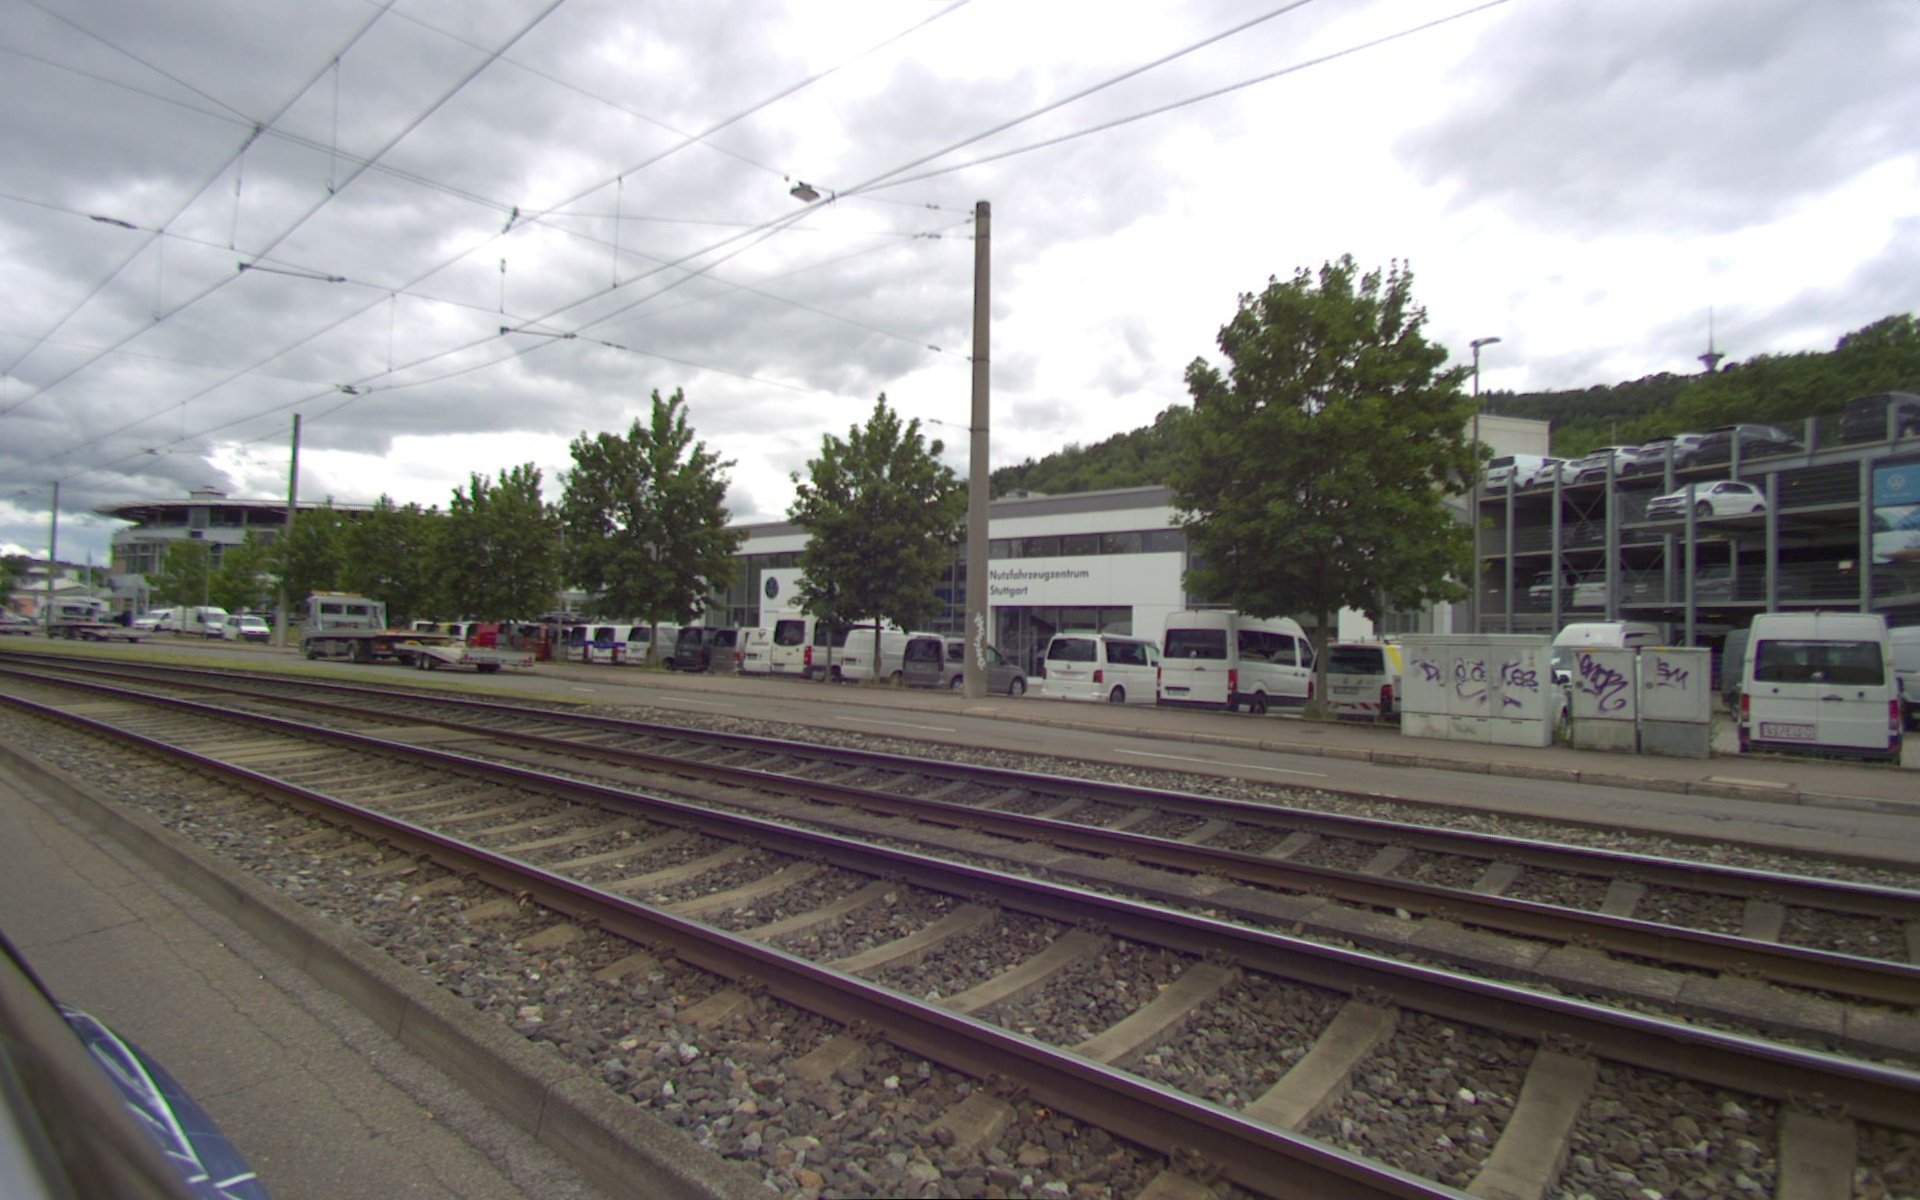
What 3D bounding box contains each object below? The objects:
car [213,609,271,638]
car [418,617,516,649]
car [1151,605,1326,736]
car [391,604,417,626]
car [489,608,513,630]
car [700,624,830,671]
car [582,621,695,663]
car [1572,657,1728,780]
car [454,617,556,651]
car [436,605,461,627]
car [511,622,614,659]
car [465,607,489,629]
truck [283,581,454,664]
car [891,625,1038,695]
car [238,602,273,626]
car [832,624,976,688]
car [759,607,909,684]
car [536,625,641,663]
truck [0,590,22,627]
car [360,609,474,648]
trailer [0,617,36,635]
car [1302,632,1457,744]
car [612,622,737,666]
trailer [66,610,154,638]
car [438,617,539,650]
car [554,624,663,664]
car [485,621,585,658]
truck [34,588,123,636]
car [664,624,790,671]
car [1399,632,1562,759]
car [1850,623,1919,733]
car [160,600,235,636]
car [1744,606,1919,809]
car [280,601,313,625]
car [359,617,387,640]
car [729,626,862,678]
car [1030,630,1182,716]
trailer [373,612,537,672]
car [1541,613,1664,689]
[{"bbox_3d":[-51.686,1.685,72.826,4.799,2.029,1.975,-1,-3,37],"label":"car"},{"bbox_3d":[-26.681,1.825,54.891,2.155,1.630,4.286,-1,-3,45],"label":"car"},{"bbox_3d":[6.608,1.572,23.630,2.113,2.719,4.915,-1,-3,40],"label":"car"},{"bbox_3d":[-53.049,1.470,96.595,1.965,2.029,4.013,3,-2,-26],"label":"car"},{"bbox_3d":[-44.991,1.879,99.111,1.965,2.029,4.013,3,-2,-26],"label":"car"},{"bbox_3d":[-7.145,1.758,37.302,2.005,1.630,4.316,-1,-3,44],"label":"car"},{"bbox_3d":[-13.213,1.755,41.714,2.001,1.630,3.941,-1,-3,45],"label":"car"},{"bbox_3d":[12.860,2.051,18.759,2.002,1.925,4.321,-1,-3,40],"label":"car"},{"bbox_3d":[-22.586,1.701,50.271,2.064,1.630,4.130,-1,-3,45],"label":"car"},{"bbox_3d":[-48.965,1.547,96.893,1.965,2.029,4.013,3,-2,-26],"label":"car"},{"bbox_3d":[-18.375,1.899,46.855,2.001,1.630,3.941,-1,-3,45],"label":"car"},{"bbox_3d":[-46.948,1.731,98.301,1.965,2.029,4.013,3,-2,-26],"label":"car"},{"bbox_3d":[-22.869,0.862,38.833,9.214,2.762,2.727,-1,-5,41],"label":"truck"},{"bbox_3d":[0.193,1.786,30.571,2.005,1.962,4.316,-1,-3,44],"label":"car"},{"bbox_3d":[-62.458,1.242,89.776,1.965,2.029,4.013,2,-2,-26],"label":"car"},{"bbox_3d":[-1.720,1.743,32.014,2.005,1.859,4.316,-1,-3,44],"label":"car"},{"bbox_3d":[-4.042,1.464,32.894,2.126,2.329,4.445,-1,-3,44],"label":"car"},{"bbox_3d":[-16.724,1.984,45.609,2.001,1.630,3.941,-1,-3,45],"label":"car"},{"bbox_3d":[-82.569,0.690,85.389,8.942,2.944,3.080,0,-5,36],"label":"truck"},{"bbox_3d":[-31.173,1.688,58.203,5.616,2.023,2.150,3,-3,-29],"label":"car"},{"bbox_3d":[-76.347,2.016,80.359,6.992,1.287,3.021,0,-5,36],"label":"trailer"},{"bbox_3d":[9.363,1.852,22.385,2.002,2.189,4.321,-1,-3,40],"label":"car"},{"bbox_3d":[-11.276,1.748,40.105,2.005,1.630,4.316,-1,-3,44],"label":"car"},{"bbox_3d":[-54.049,1.504,64.294,7.214,1.507,2.732,-1,-5,38],"label":"trailer"},{"bbox_3d":[-24.520,1.755,52.737,2.121,1.630,4.295,-1,-3,45],"label":"car"},{"bbox_3d":[-15.152,1.910,43.680,2.001,1.630,3.941,-1,-3,45],"label":"car"},{"bbox_3d":[-20.431,1.913,48.706,2.049,1.677,3.941,-1,-3,45],"label":"car"},{"bbox_3d":[-60.262,0.858,69.093,8.442,3.004,2.836,-1,-5,38],"label":"truck"},{"bbox_3d":[-8.942,1.842,39.007,2.005,1.699,4.316,-1,-3,44],"label":"car"},{"bbox_3d":[10.372,1.784,20.013,2.002,2.189,4.321,-1,-3,40],"label":"car"},{"bbox_3d":[23.912,1.873,23.751,1.985,2.622,5.925,1,-2,14],"label":"car"},{"bbox_3d":[-57.293,1.362,75.998,5.831,2.580,1.982,0,-2,26],"label":"car"},{"bbox_3d":[14.132,1.597,16.499,2.002,2.840,4.321,-1,-3,40],"label":"car"},{"bbox_3d":[-59.838,1.211,91.311,1.965,2.029,4.013,2,-2,-26],"label":"car"},{"bbox_3d":[-54.661,2.676,94.336,1.965,2.029,4.013,3,-2,-26],"label":"car"},{"bbox_3d":[-5.677,1.802,35.337,2.030,1.701,4.321,-1,-3,40],"label":"car"},{"bbox_3d":[3.937,1.867,26.717,2.002,2.026,4.321,-1,-3,40],"label":"car"},{"bbox_3d":[-16.832,1.360,33.499,6.945,1.711,2.357,0,-5,42],"label":"trailer"},{"bbox_3d":[18.691,1.476,29.344,4.787,2.029,2.001,4,-3,-45],"label":"car"}]
